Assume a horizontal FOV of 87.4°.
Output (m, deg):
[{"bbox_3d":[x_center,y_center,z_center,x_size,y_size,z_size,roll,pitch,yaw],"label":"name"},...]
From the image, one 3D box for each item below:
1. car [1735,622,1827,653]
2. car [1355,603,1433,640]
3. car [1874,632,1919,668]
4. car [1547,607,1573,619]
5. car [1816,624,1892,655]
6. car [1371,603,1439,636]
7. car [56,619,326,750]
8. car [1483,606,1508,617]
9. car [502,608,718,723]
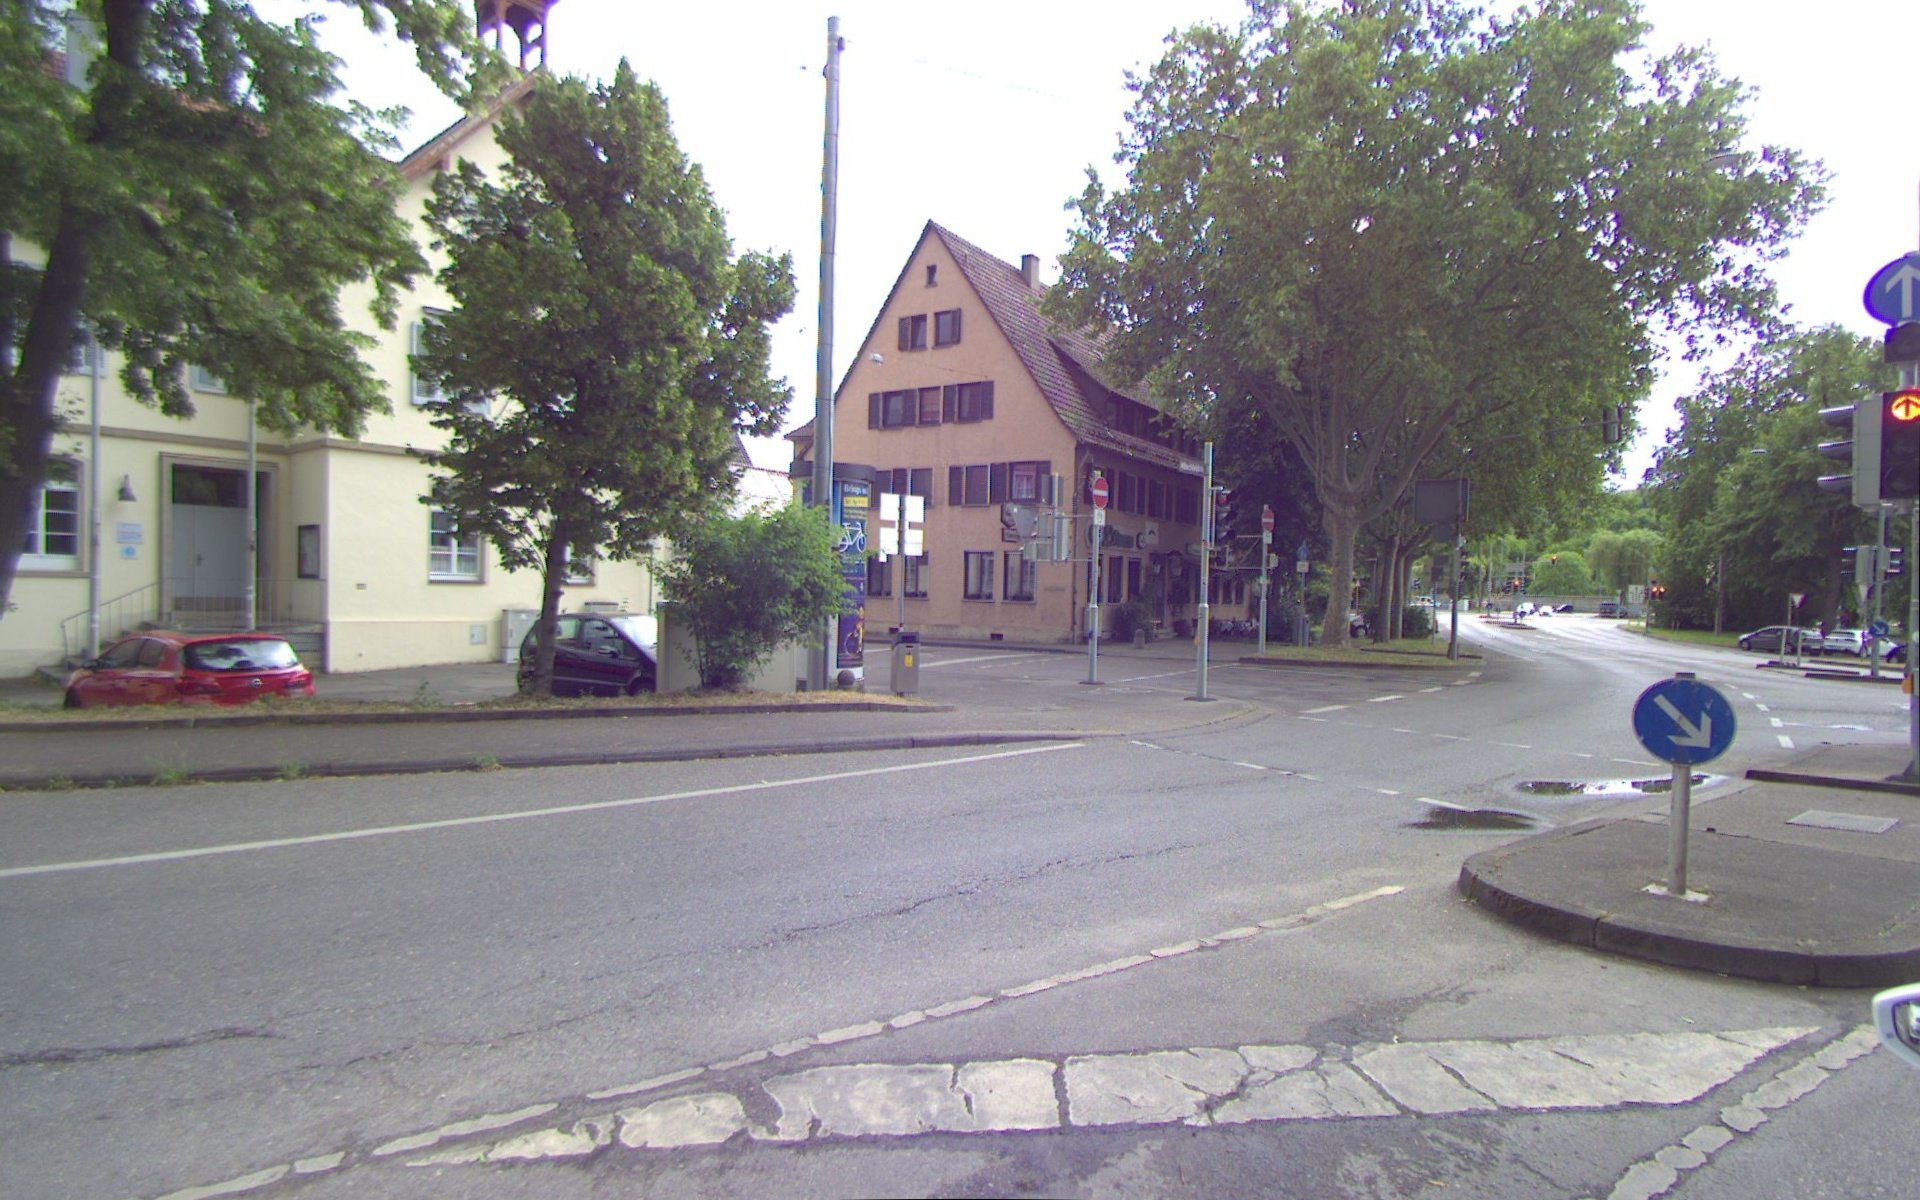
[{"bbox_3d":[43.865,1.970,53.765,1.559,1.484,3.543,2,0,-17],"label":"car"},{"bbox_3d":[21.410,1.048,49.588,3.387,1.663,1.570,2,0,28],"label":"car"},{"bbox_3d":[39.571,2.079,40.949,1.442,1.412,3.596,2,0,3],"label":"car"},{"bbox_3d":[108.233,2.321,181.094,3.928,2.040,1.996,2,0,30],"label":"car"},{"bbox_3d":[47.304,2.083,53.165,3.342,1.484,1.543,2,0,-19],"label":"car"},{"bbox_3d":[25.471,1.087,57.472,3.387,1.765,1.570,2,0,28],"label":"car"},{"bbox_3d":[-10.174,1.013,13.251,3.492,1.397,1.605,2,0,30],"label":"car"},{"bbox_3d":[100.719,2.132,188.939,3.928,2.040,1.996,2,0,30],"label":"car"},{"bbox_3d":[-5.763,1.006,16.599,3.035,1.654,1.607,2,0,22],"label":"car"}]
